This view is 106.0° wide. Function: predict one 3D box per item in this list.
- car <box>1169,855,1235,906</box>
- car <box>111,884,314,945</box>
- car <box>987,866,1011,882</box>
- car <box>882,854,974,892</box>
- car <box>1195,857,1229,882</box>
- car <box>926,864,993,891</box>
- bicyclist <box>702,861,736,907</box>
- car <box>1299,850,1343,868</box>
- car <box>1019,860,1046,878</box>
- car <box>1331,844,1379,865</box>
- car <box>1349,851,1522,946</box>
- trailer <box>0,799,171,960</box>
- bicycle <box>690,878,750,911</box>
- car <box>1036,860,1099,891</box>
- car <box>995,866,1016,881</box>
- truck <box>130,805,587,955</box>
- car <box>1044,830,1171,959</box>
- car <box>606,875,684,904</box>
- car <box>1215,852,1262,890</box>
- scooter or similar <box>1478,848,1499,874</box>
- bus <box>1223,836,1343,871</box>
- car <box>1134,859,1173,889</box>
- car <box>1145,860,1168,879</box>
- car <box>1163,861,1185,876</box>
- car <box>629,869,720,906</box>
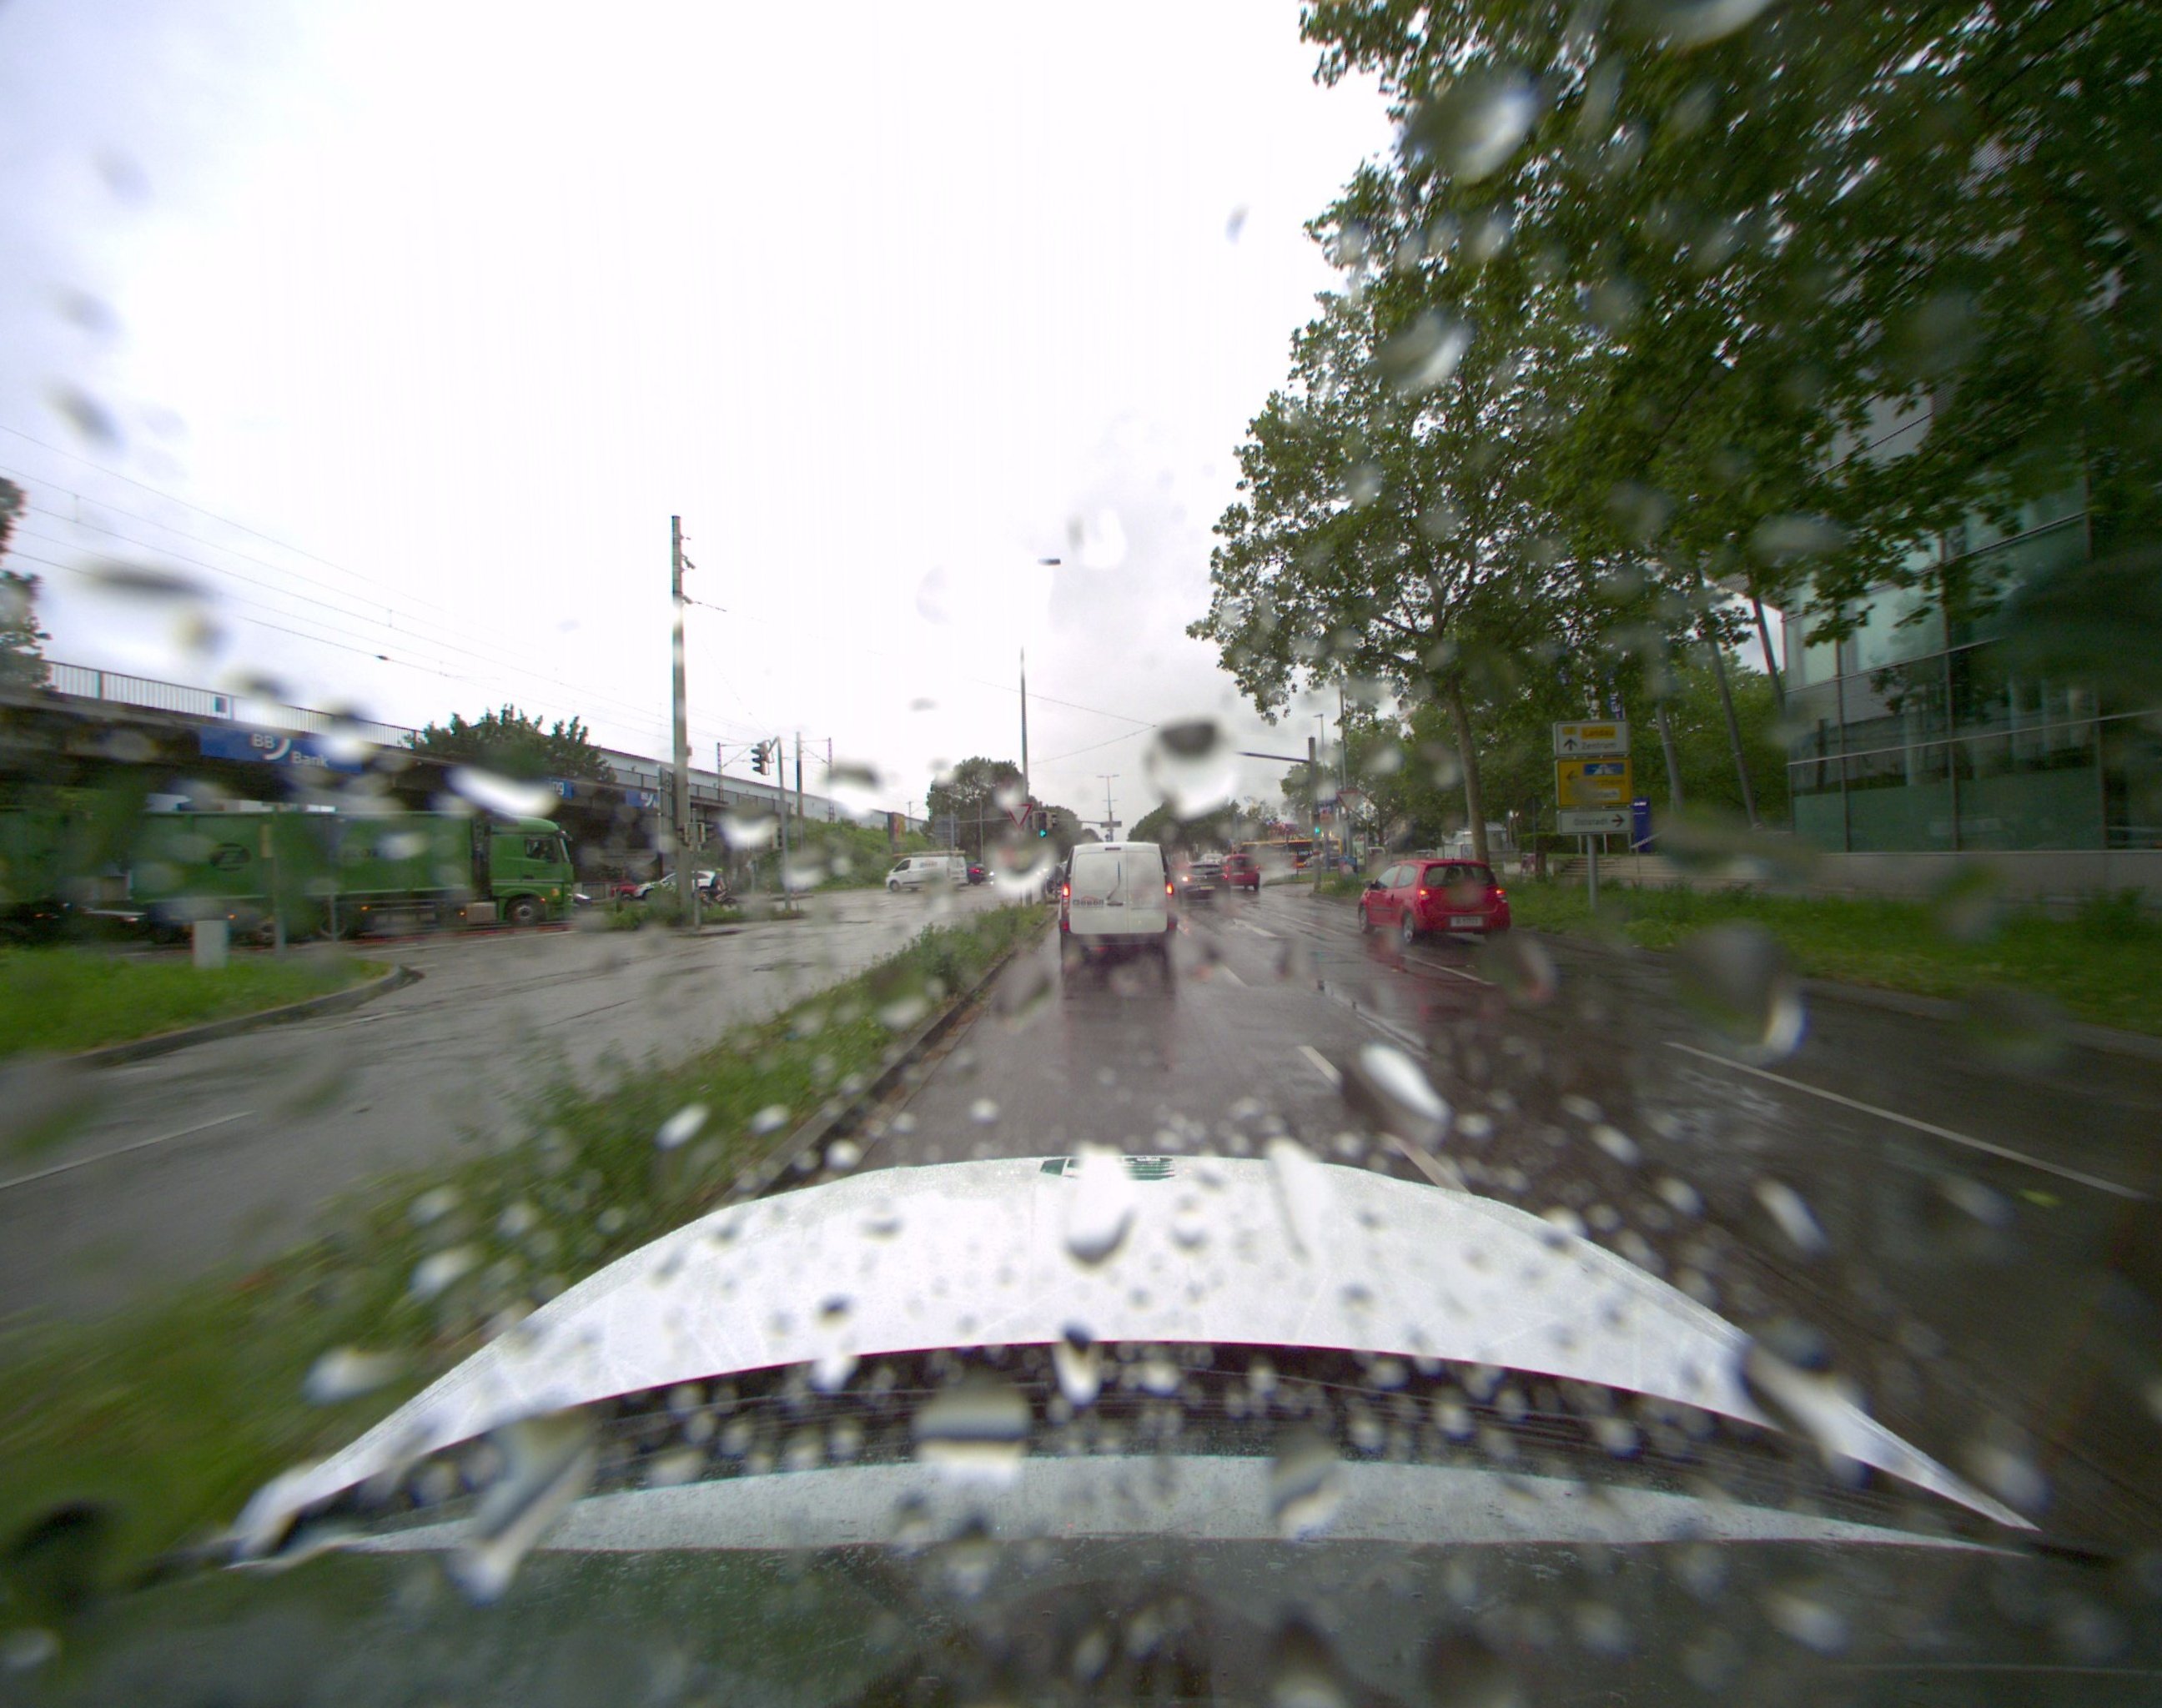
[{"bbox_3d":[4.121,0.881,28.300,1.836,1.618,4.001,0,-1,2],"label":"car"},{"bbox_3d":[-27.086,1.826,25.635,4.017,1.574,1.978,-2,-1,-36],"label":"car"},{"bbox_3d":[-8.025,1.946,79.574,1.886,1.349,3.999,-2,0,0],"label":"car"},{"bbox_3d":[-8.748,1.084,46.498,4.760,1.956,2.012,-3,0,25],"label":"car"},{"bbox_3d":[8.824,1.013,55.063,1.835,1.618,4.003,0,-1,3],"label":"car"},{"bbox_3d":[-8.122,1.592,54.547,3.897,1.619,2.010,-3,-1,21],"label":"car"},{"bbox_3d":[-12.766,1.059,28.722,1.049,1.593,0.798,0,-2,-26],"label":"bicyclist"},{"bbox_3d":[24.310,0.535,82.372,4.361,1.651,1.912,-2,-1,-35],"label":"car"},{"bbox_3d":[-4.816,1.476,81.384,2.013,1.657,4.067,-2,0,5],"label":"car"},{"bbox_3d":[27.264,0.067,81.119,4.766,1.849,2.055,-2,-1,-35],"label":"car"},{"bbox_3d":[6.295,0.728,14.911,1.672,1.491,3.622,-1,0,2],"label":"car"},{"bbox_3d":[-29.264,0.711,20.140,8.555,3.987,2.660,-2,-1,-35],"label":"trailer"},{"bbox_3d":[-12.741,1.405,28.737,1.916,1.095,0.689,-1,-1,-26],"label":"bicycle"},{"bbox_3d":[-0.674,1.002,37.987,1.586,1.306,3.428,-2,0,-27],"label":"car"},{"bbox_3d":[-7.921,2.022,86.036,1.822,1.482,3.998,-2,0,-1],"label":"car"},{"bbox_3d":[-21.552,0.584,25.477,10.236,3.949,2.659,-2,-1,-35],"label":"truck"},{"bbox_3d":[0.437,0.592,13.527,1.749,1.777,4.001,-2,0,2],"label":"car"},{"bbox_3d":[-25.831,2.062,48.300,4.013,1.503,1.755,-2,0,-31],"label":"car"},{"bbox_3d":[7.297,0.770,37.912,1.626,1.656,3.486,0,0,2],"label":"car"},{"bbox_3d":[19.004,0.327,37.954,1.181,1.138,0.337,-2,-1,-38],"label":"scooter or similar"},{"bbox_3d":[21.883,-0.011,88.642,12.205,3.268,3.275,-2,-1,1],"label":"bus"},{"bbox_3d":[4.101,1.122,46.573,1.830,1.656,3.998,0,0,-1],"label":"car"},{"bbox_3d":[7.079,1.438,76.700,1.985,1.574,4.004,-2,0,4],"label":"car"},{"bbox_3d":[9.927,1.574,87.194,1.986,1.560,4.002,0,-1,2],"label":"car"},{"bbox_3d":[-23.153,1.865,46.533,4.445,1.846,1.985,-2,-1,-23],"label":"car"}]
